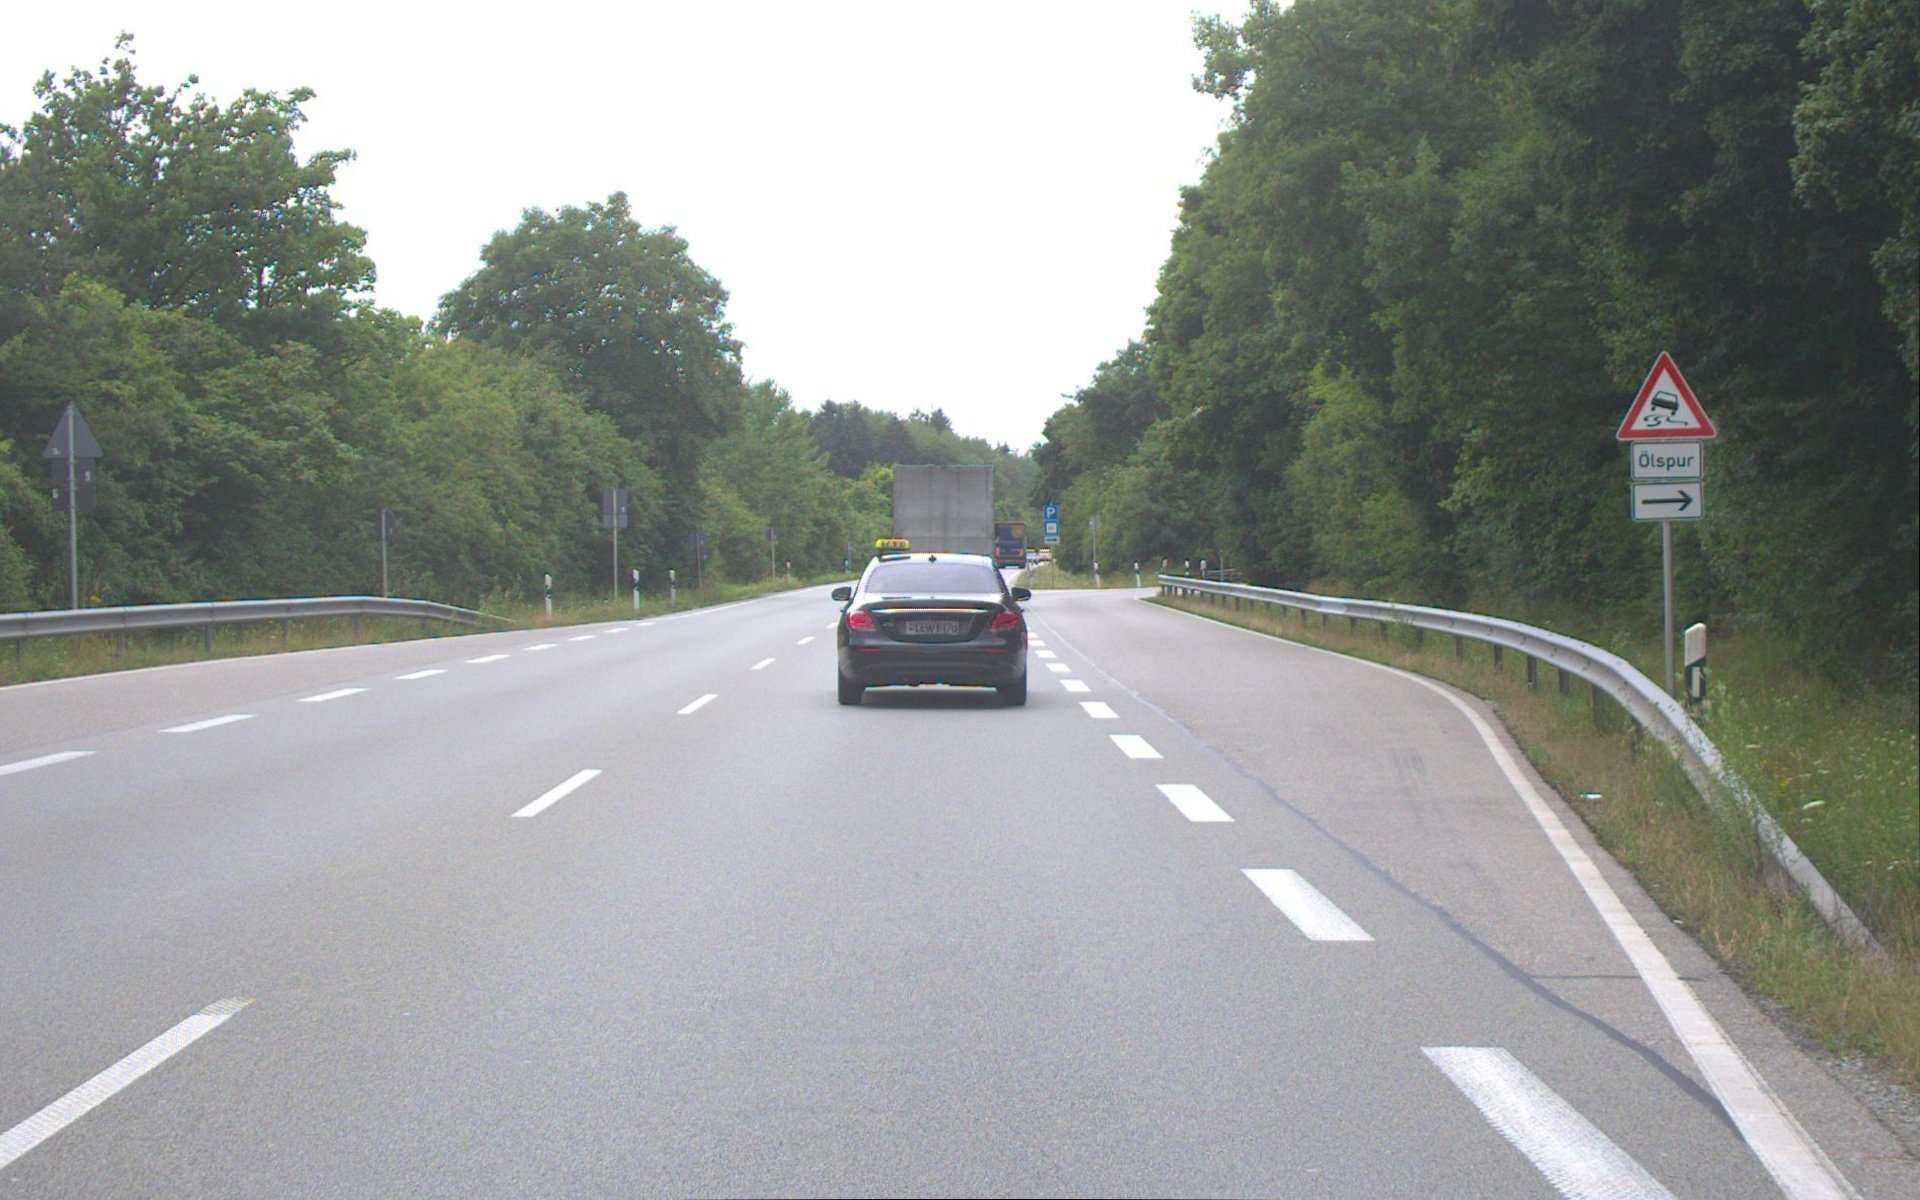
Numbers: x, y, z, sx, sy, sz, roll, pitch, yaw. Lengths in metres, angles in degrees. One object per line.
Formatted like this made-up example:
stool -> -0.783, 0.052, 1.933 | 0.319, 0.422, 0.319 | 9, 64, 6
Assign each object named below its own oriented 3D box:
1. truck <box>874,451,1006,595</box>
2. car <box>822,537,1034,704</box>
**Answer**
truck -> -0.599, -2.039, 92.457 | 3.281, 3.599, 11.401 | 1, 1, -1
car -> -0.376, 0.159, 34.151 | 1.791, 1.546, 4.001 | 0, 1, -5
